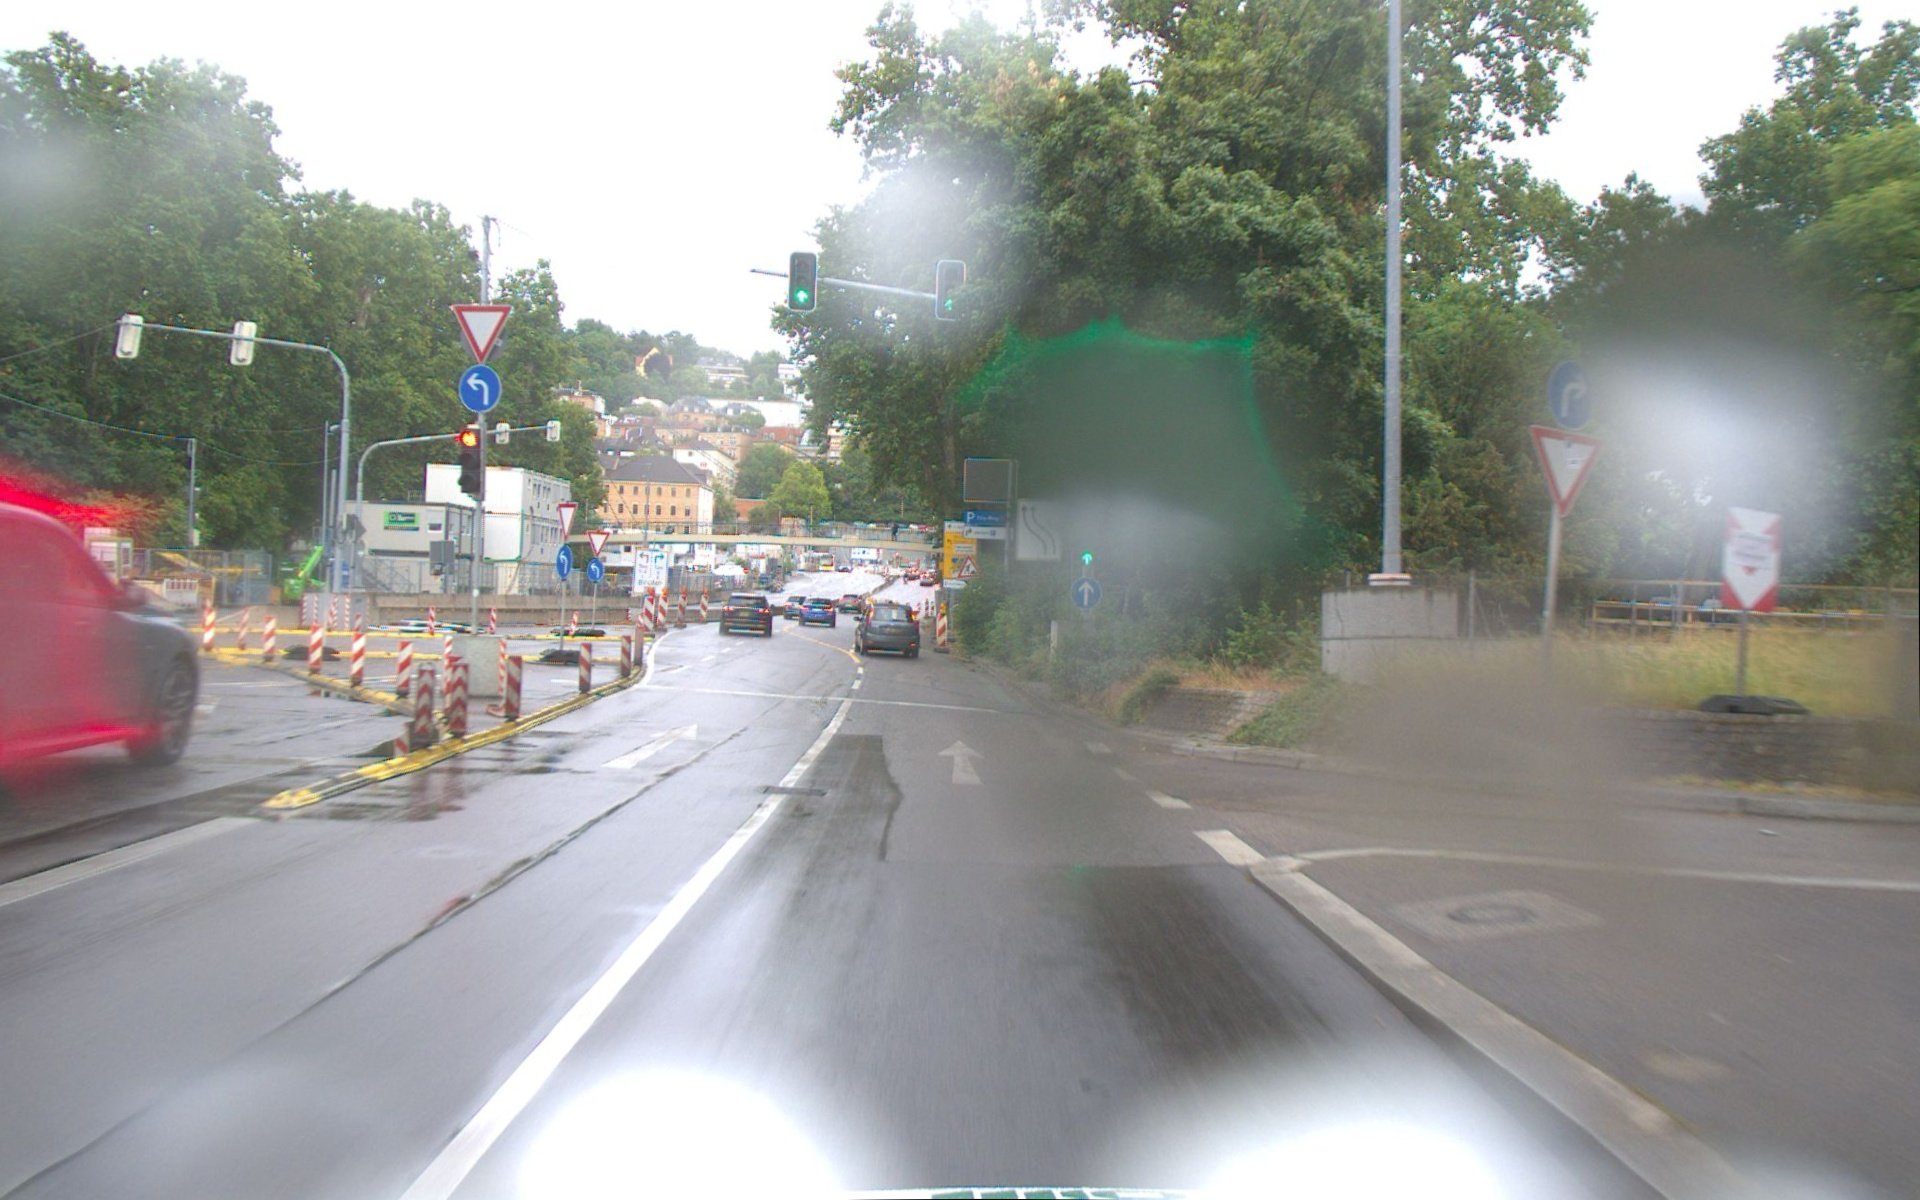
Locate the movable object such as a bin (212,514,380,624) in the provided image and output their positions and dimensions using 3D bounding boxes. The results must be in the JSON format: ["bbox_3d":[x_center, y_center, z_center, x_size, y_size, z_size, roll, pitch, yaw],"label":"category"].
[{"bbox_3d":[-31.473,-1.366,78.937,4.653,4.887,8.357,1,0,-1],"label":"movable object such as a bin"}]

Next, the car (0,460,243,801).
[{"bbox_3d":[-6.508,0.128,10.284,2.166,1.895,5.068,3,0,-5],"label":"car"}]

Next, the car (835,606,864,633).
[{"bbox_3d":[-8.817,1.563,132.285,2.009,2.049,3.999,1,0,-1],"label":"car"}]

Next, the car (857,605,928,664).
[{"bbox_3d":[-1.957,0.946,46.933,1.777,1.553,3.995,1,0,-6],"label":"car"}]

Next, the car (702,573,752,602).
[{"bbox_3d":[-24.265,-1.301,172.577,1.955,2.925,6.044,1,-1,27],"label":"car"}]

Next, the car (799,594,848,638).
[{"bbox_3d":[-6.796,0.781,82.601,2.061,2.086,4.000,1,0,0],"label":"car"}]

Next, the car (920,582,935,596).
[{"bbox_3d":[-4.486,-1.495,226.255,1.953,1.902,3.999,1,0,-1],"label":"car"}]

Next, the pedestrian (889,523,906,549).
[{"bbox_3d":[-5.184,-5.330,137.187,1.123,2.096,1.060,1,-1,8],"label":"pedestrian"}]

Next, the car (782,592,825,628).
[{"bbox_3d":[-9.275,0.562,98.375,1.952,2.049,4.001,2,0,3],"label":"car"}]

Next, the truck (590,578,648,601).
[{"bbox_3d":[-32.406,-1.021,157.294,5.143,2.049,2.162,1,0,-4],"label":"truck"}]

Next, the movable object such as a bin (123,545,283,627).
[{"bbox_3d":[-31.835,-0.545,69.894,3.852,3.183,6.386,1,0,-1],"label":"movable object such as a bin"}]

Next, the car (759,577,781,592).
[{"bbox_3d":[-23.455,-1.926,204.018,1.952,1.650,4.003,2,2,4],"label":"car"}]

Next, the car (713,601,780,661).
[{"bbox_3d":[-7.709,1.100,59.548,1.982,2.049,3.987,1,0,-13],"label":"car"}]
